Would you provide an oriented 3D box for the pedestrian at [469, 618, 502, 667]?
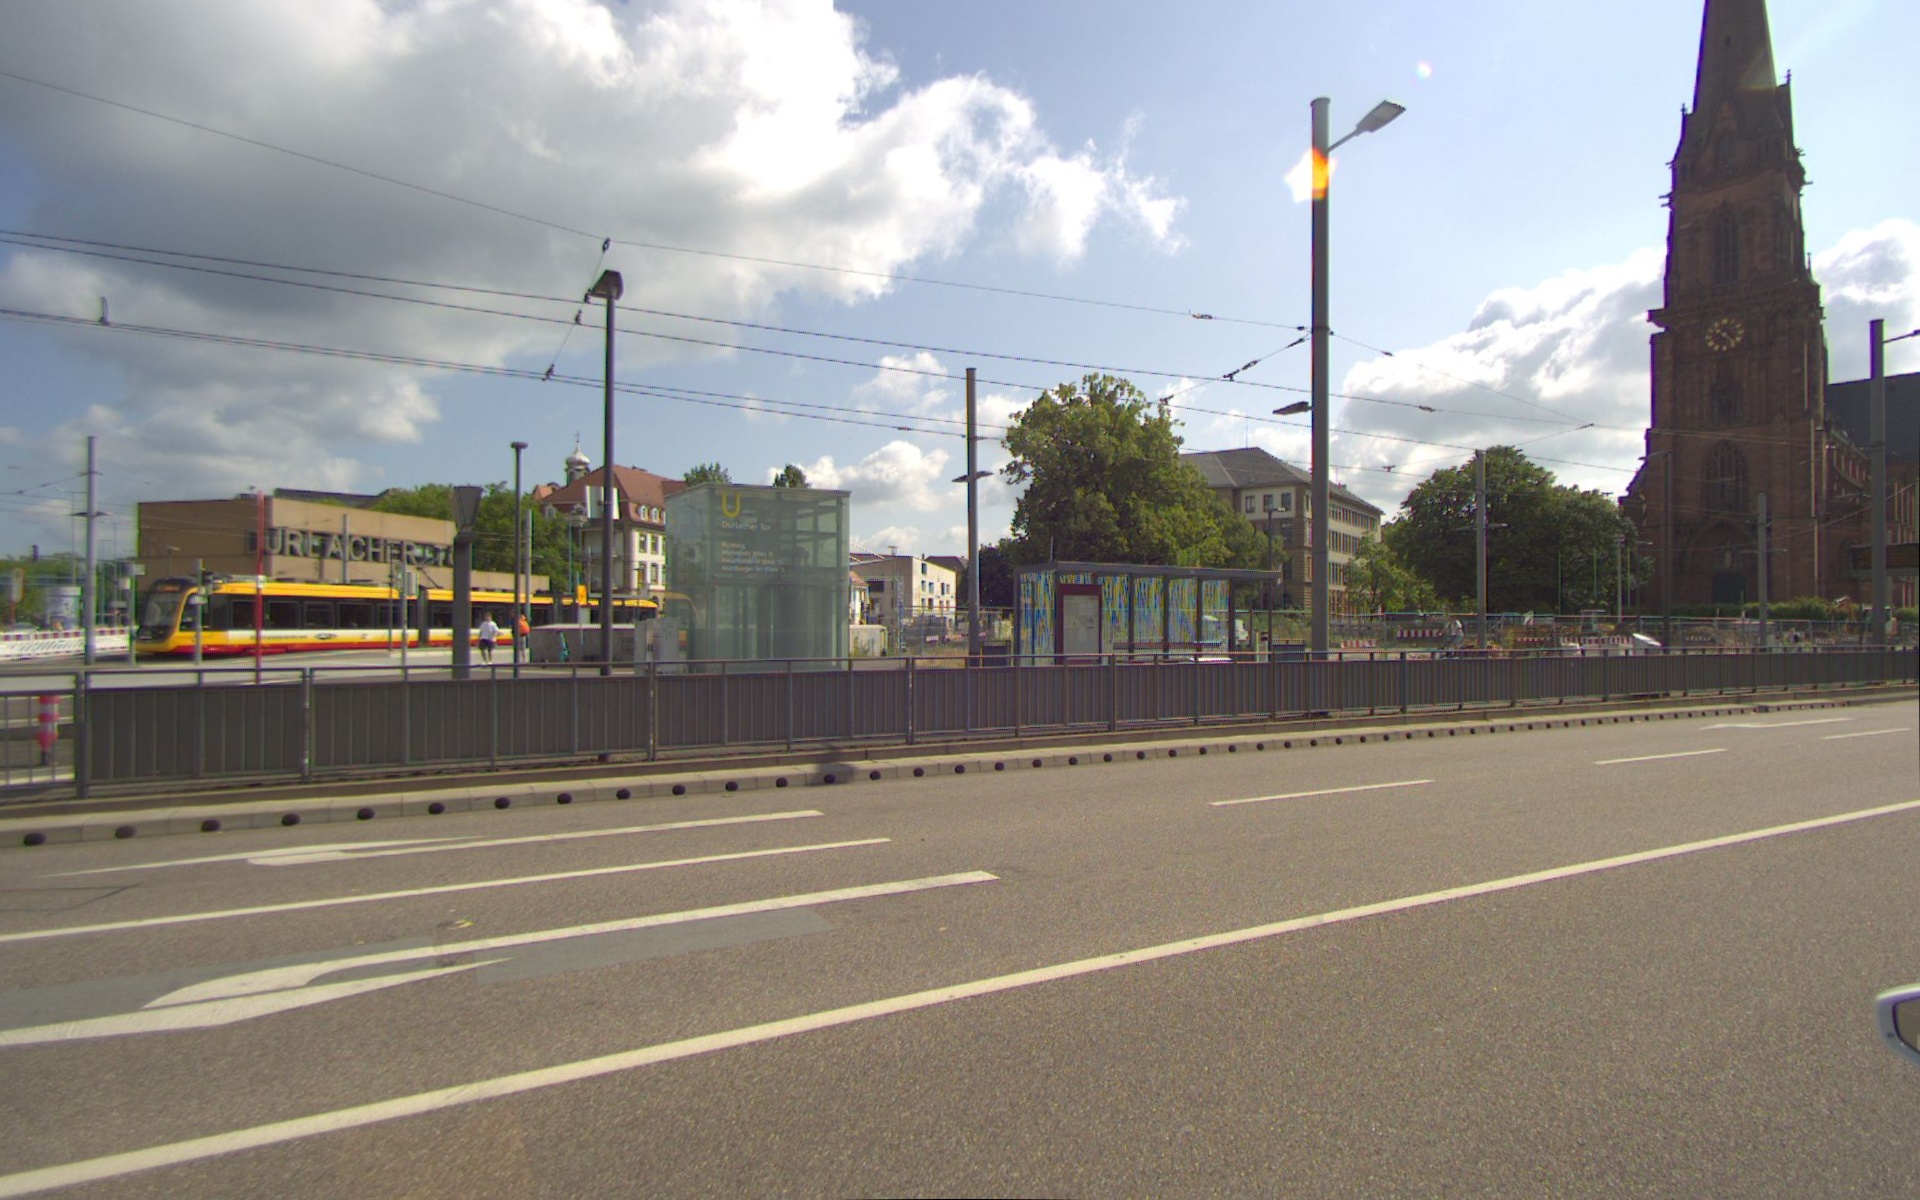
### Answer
[{"bbox_3d":[-16.590,1.479,35.152,0.766,1.694,0.721,0,-1,10],"label":"pedestrian"}]

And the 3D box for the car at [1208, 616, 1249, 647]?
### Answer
[{"bbox_3d":[20.209,2.345,75.557,1.906,2.166,4.637,-1,0,29],"label":"car"}]

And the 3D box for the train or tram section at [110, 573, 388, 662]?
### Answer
[{"bbox_3d":[-31.513,0.703,45.449,3.257,3.527,10.612,-2,0,15],"label":"train or tram section"}]

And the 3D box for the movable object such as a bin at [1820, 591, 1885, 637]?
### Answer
[{"bbox_3d":[63.139,0.976,71.057,3.946,3.147,1.988,-2,0,-25],"label":"movable object such as a bin"}]

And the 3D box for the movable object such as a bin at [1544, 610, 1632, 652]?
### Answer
[{"bbox_3d":[45.734,2.244,73.234,1.981,2.950,5.103,1,-2,-36],"label":"movable object such as a bin"}]

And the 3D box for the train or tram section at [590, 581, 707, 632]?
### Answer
[{"bbox_3d":[-23.394,0.487,76.329,3.257,3.527,10.612,-2,0,15],"label":"train or tram section"}]

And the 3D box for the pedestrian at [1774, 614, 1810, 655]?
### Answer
[{"bbox_3d":[42.423,1.765,51.241,1.037,2.040,1.062,1,-2,-26],"label":"pedestrian"}]

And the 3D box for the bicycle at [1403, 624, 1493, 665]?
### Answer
[{"bbox_3d":[17.983,1.632,36.962,3.651,1.445,1.187,1,-2,-31],"label":"bicycle"}]

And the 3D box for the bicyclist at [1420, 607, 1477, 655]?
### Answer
[{"bbox_3d":[17.959,1.131,36.953,1.665,1.706,1.172,1,-2,-31],"label":"bicyclist"}]

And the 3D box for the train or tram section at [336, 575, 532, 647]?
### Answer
[{"bbox_3d":[-28.755,0.557,55.747,3.257,3.527,10.612,-2,0,15],"label":"train or tram section"}]

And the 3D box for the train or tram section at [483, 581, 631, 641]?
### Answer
[{"bbox_3d":[-26.191,0.663,66.152,3.257,3.527,10.612,-2,0,15],"label":"train or tram section"}]

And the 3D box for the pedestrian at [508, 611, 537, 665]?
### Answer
[{"bbox_3d":[-15.021,1.304,34.470,0.706,1.818,0.563,0,-1,13],"label":"pedestrian"}]
